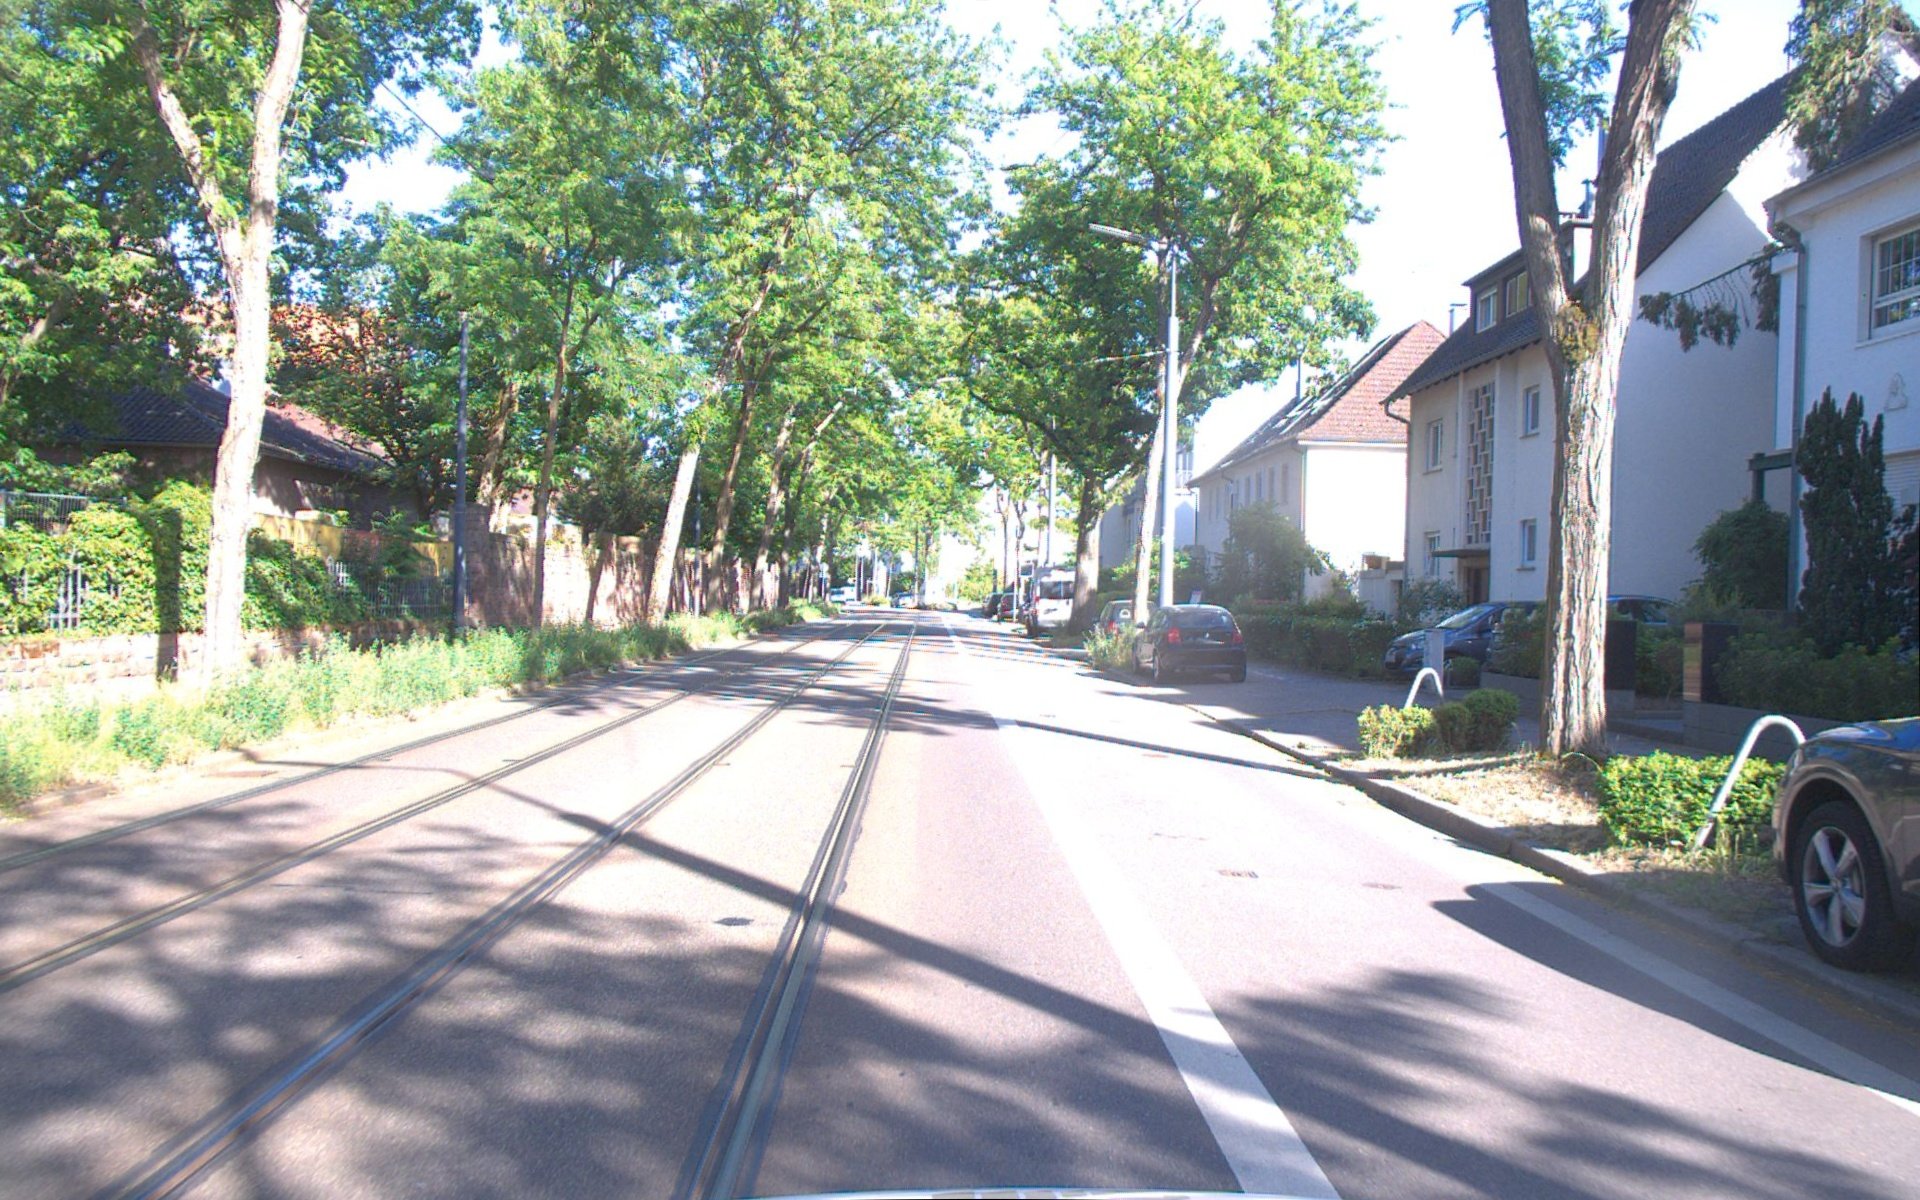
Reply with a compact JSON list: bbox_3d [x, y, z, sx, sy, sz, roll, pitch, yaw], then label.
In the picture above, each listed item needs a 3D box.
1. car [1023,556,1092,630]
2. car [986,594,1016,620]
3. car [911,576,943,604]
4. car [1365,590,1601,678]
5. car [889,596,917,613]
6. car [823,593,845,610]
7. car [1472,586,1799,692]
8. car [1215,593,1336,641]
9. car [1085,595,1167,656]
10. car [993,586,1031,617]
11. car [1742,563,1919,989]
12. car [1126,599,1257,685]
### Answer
[{"bbox_3d":[3.683,-0.274,63.448,2.200,2.700,5.584,0,0,-1],"label":"car"},{"bbox_3d":[2.800,0.447,112.947,1.961,1.704,4.394,0,0,3],"label":"car"},{"bbox_3d":[-3.011,-0.891,148.779,1.960,2.501,4.492,1,0,-14],"label":"car"},{"bbox_3d":[9.329,0.583,29.653,3.667,1.515,1.737,0,0,-7],"label":"car"},{"bbox_3d":[-5.766,0.463,166.528,1.968,1.588,4.377,1,0,-13],"label":"car"},{"bbox_3d":[-13.504,0.143,177.316,1.833,1.704,4.161,1,0,-11],"label":"car"},{"bbox_3d":[10.424,0.577,25.764,4.330,1.515,1.859,-1,0,1],"label":"car"},{"bbox_3d":[9.864,0.510,51.829,3.340,1.461,1.728,0,0,-14],"label":"car"},{"bbox_3d":[4.166,0.605,41.827,1.594,1.422,3.644,-1,0,-1],"label":"car"},{"bbox_3d":[2.978,0.066,95.293,1.962,1.704,4.391,0,0,-1],"label":"car"},{"bbox_3d":[4.898,0.697,5.906,1.953,1.734,4.475,-1,0,-2],"label":"car"},{"bbox_3d":[4.438,0.764,32.298,1.748,1.473,4.299,-1,0,-3],"label":"car"}]
